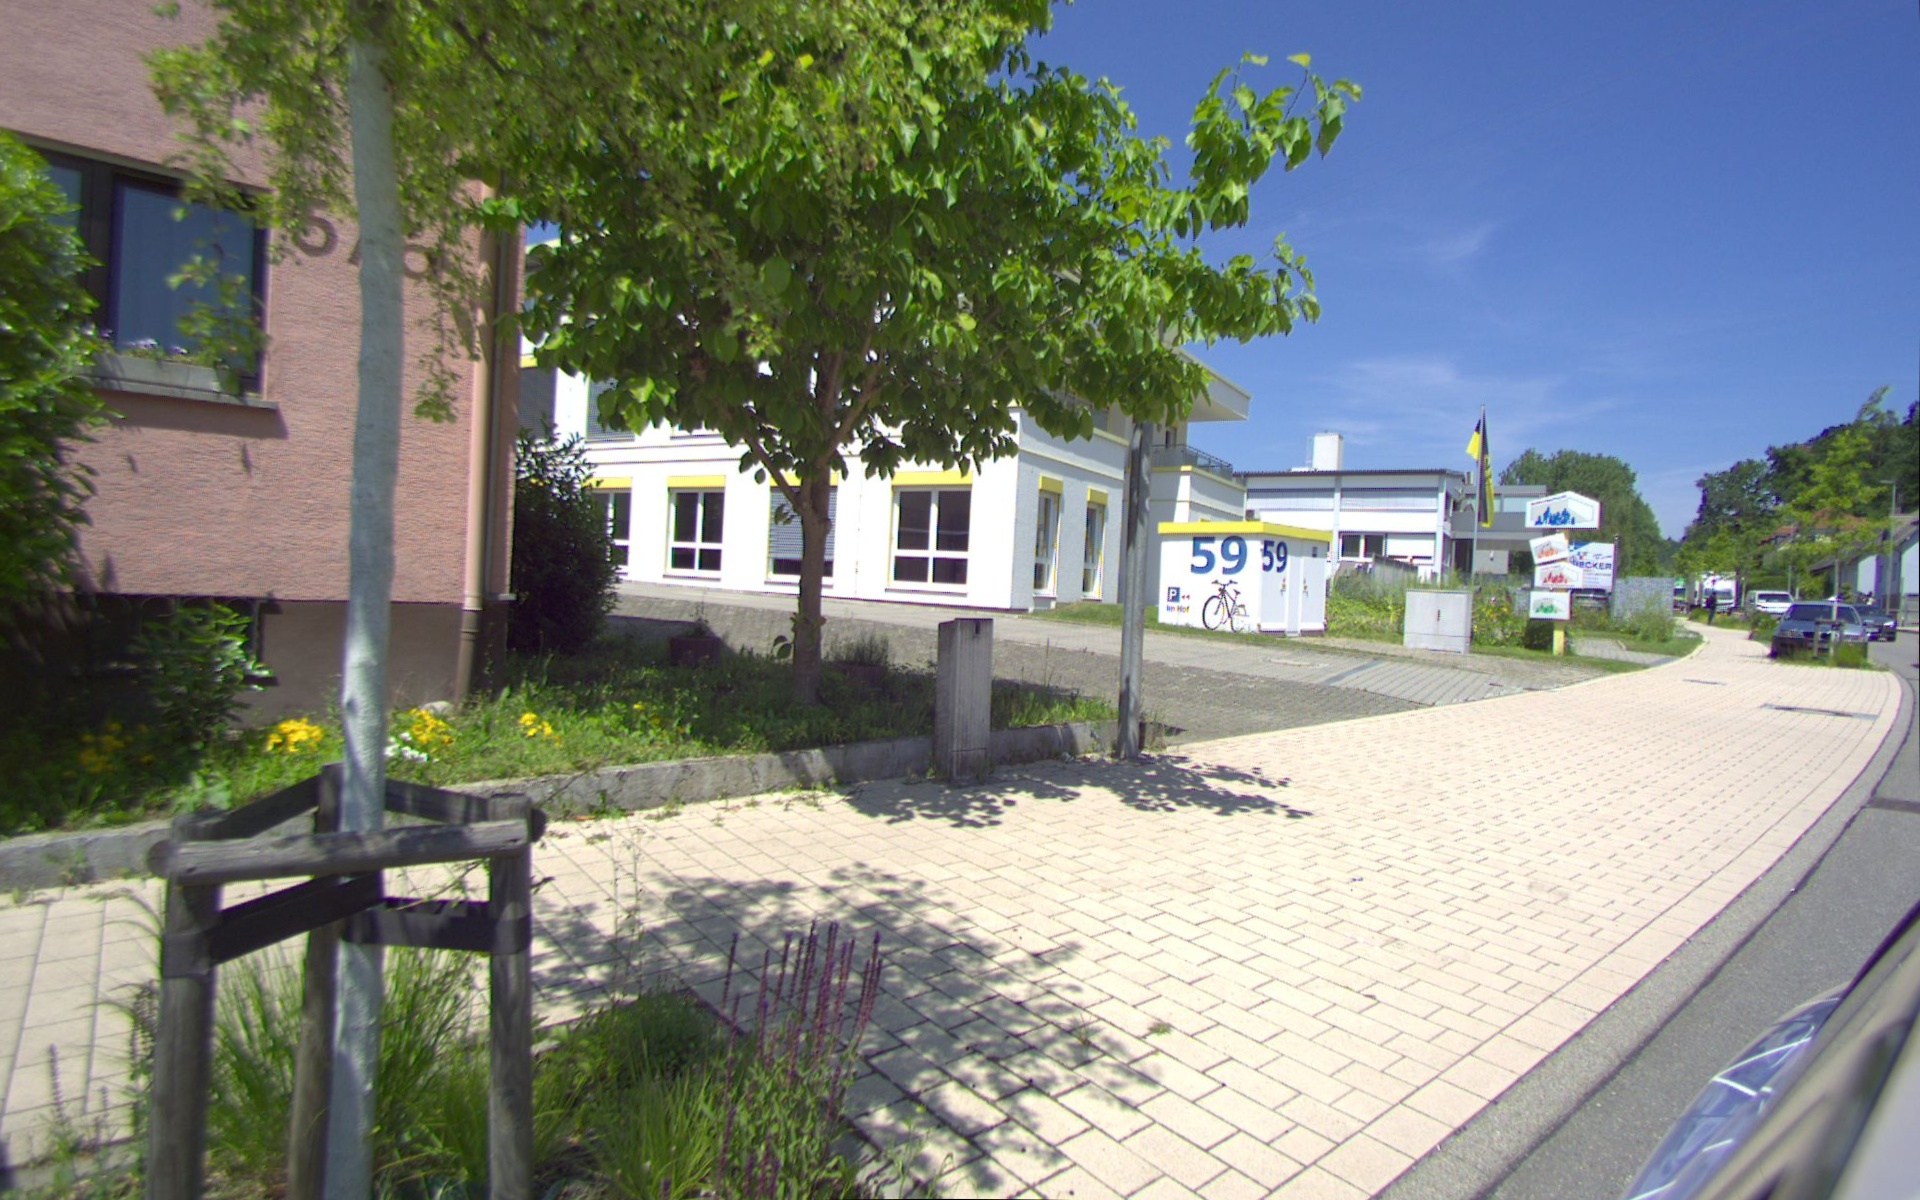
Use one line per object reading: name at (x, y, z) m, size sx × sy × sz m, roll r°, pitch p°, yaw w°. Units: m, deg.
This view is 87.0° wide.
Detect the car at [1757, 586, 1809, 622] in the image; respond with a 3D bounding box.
car at (47.167, 0.194, 58.069) m, size 1.958 × 1.856 × 4.408 m, roll 4°, pitch 2°, yaw 35°

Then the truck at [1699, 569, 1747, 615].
truck at (60.854, -0.687, 80.823) m, size 2.791 × 3.456 × 8.015 m, roll 2°, pitch 1°, yaw 36°

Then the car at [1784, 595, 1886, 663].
car at (20.885, 0.624, 24.176) m, size 1.670 × 1.393 × 3.940 m, roll 4°, pitch 3°, yaw 41°

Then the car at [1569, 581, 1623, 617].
car at (29.825, -0.071, 47.449) m, size 1.987 × 1.504 × 3.953 m, roll 5°, pitch 3°, yaw 33°

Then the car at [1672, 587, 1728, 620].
car at (36.527, 0.151, 50.041) m, size 1.637 × 1.548 × 3.826 m, roll 2°, pitch 1°, yaw 28°

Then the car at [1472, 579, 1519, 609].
car at (26.488, -0.294, 50.000) m, size 1.733 × 1.382 × 3.795 m, roll 2°, pitch 1°, yaw 33°

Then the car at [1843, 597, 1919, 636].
car at (35.493, 0.603, 39.010) m, size 1.901 × 1.366 × 3.946 m, roll 2°, pitch 2°, yaw 37°
